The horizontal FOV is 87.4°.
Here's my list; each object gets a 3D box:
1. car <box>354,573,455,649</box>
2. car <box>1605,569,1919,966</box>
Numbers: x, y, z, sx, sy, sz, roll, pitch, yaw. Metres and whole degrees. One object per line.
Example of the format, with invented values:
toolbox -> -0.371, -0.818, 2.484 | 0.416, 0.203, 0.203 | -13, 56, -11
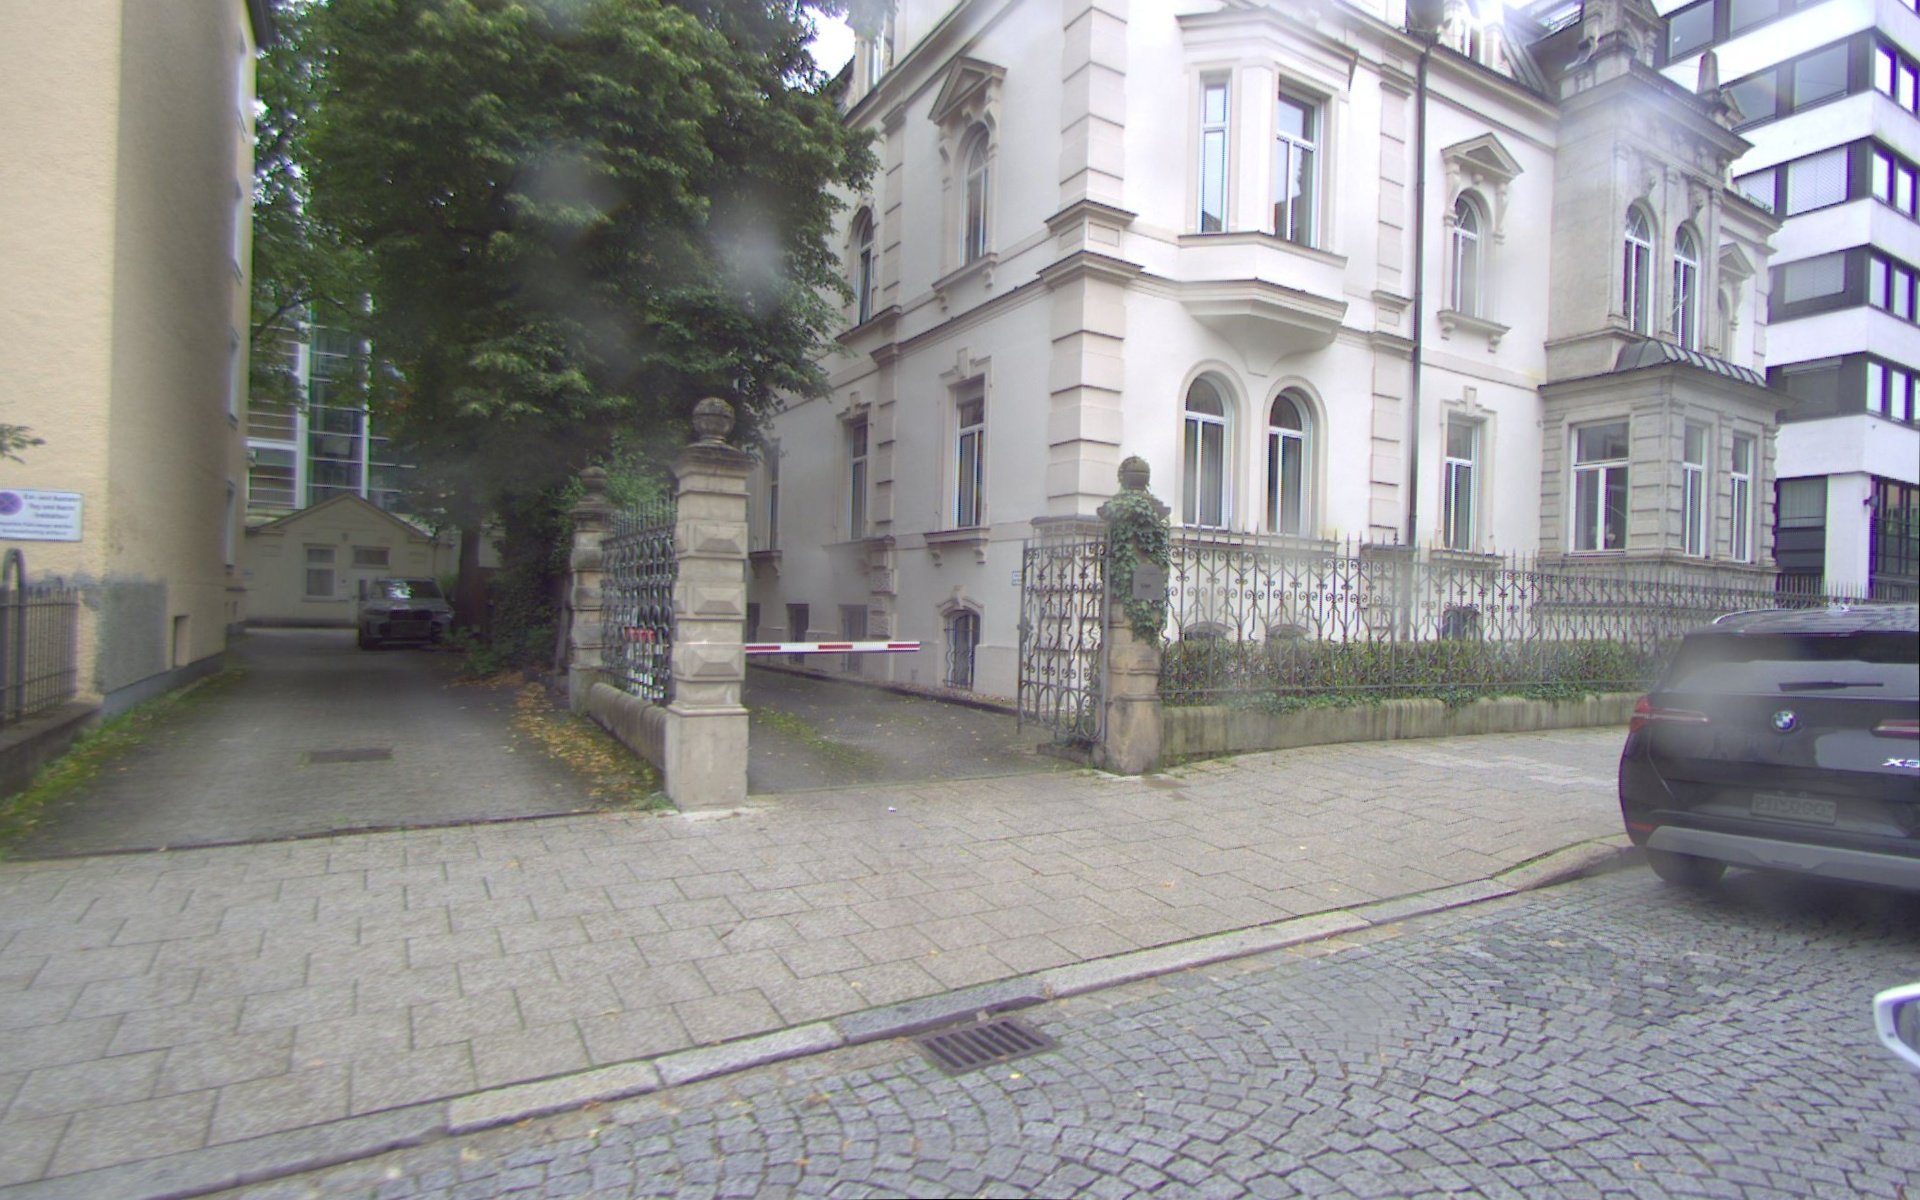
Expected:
car -> -13.598, 0.250, 24.745 | 1.975, 1.687, 3.971 | 2, 0, -28
car -> 5.852, 0.789, 5.906 | 4.342, 1.740, 1.764 | 2, 0, -32
